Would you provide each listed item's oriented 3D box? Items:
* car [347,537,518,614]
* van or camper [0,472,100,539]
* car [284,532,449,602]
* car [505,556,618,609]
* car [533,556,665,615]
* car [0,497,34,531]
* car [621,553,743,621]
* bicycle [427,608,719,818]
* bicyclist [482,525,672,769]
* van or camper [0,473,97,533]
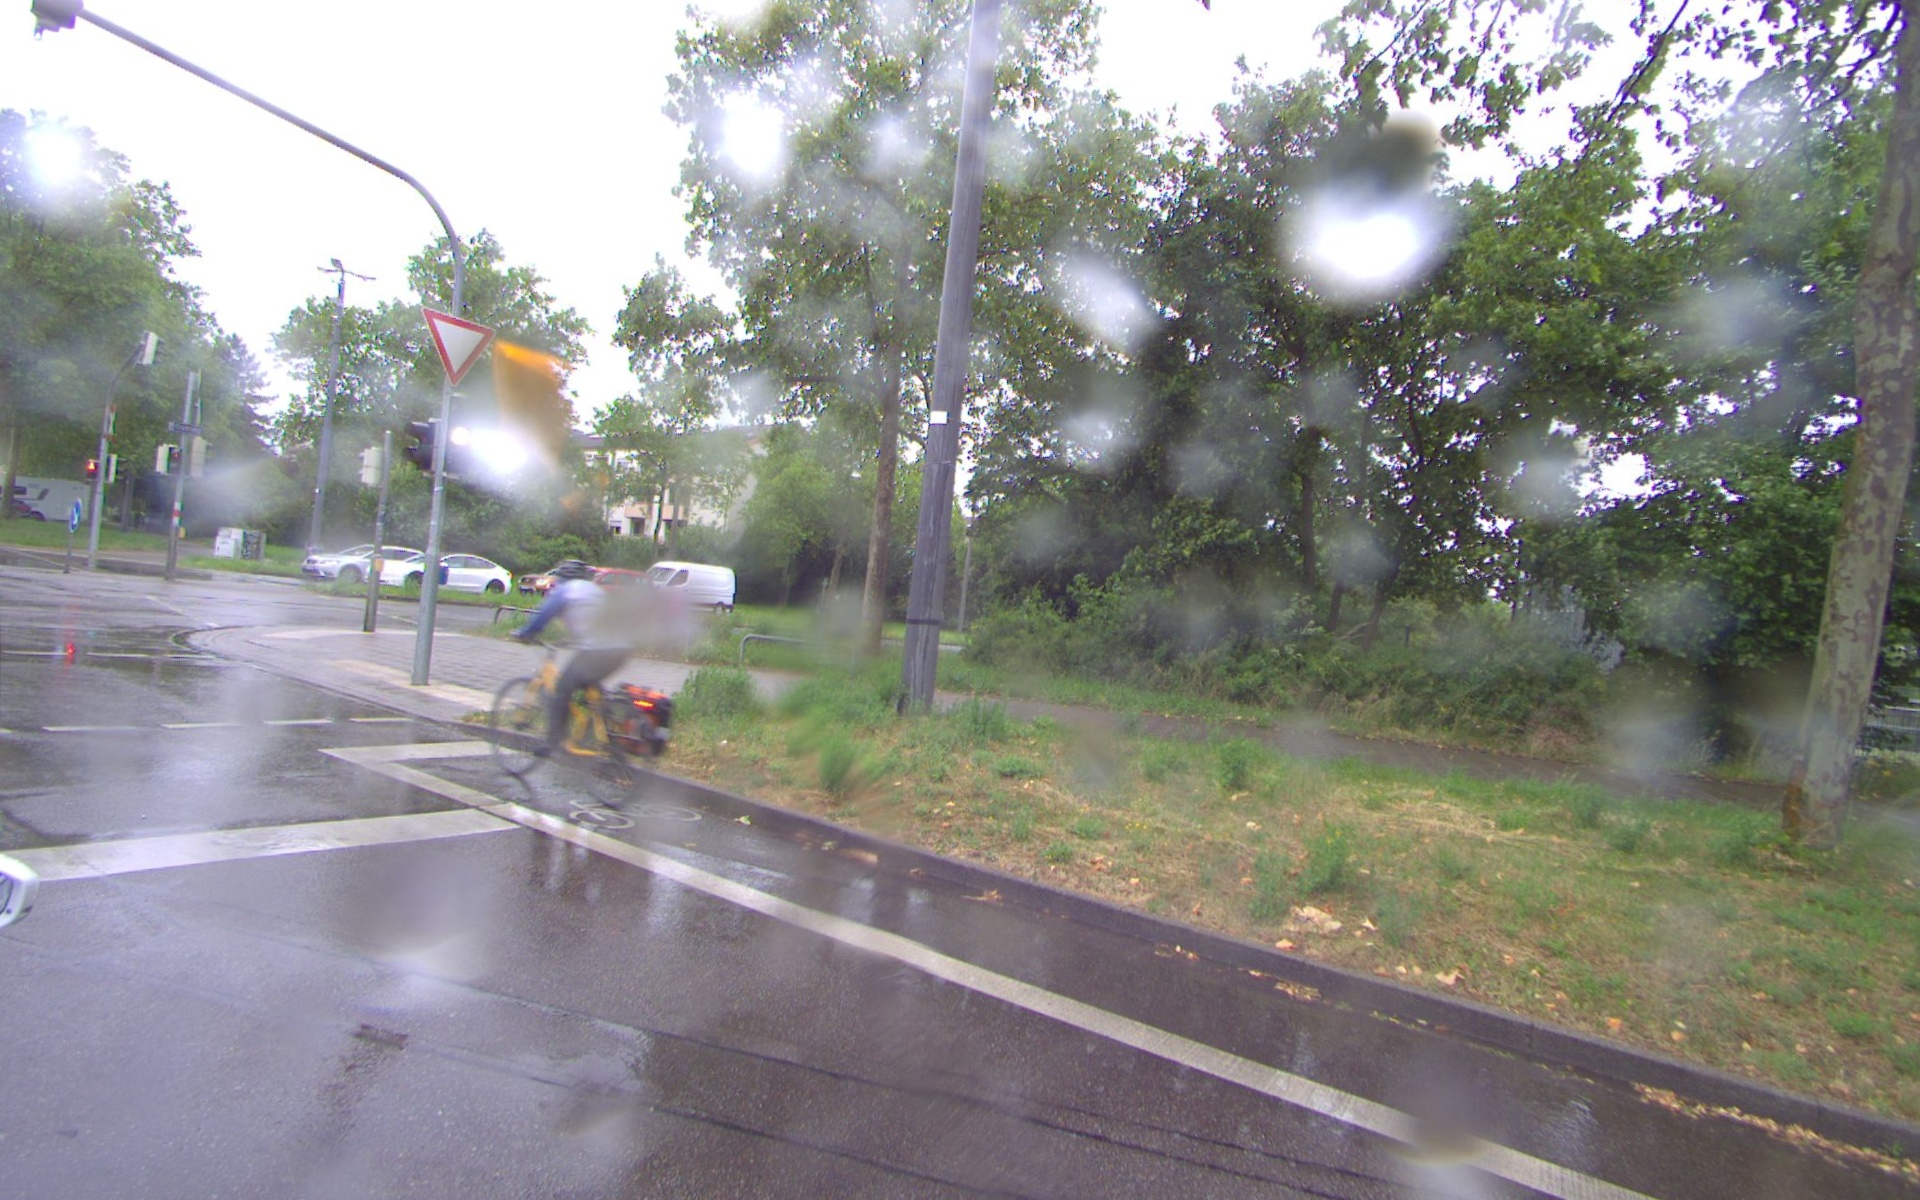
[{"bbox_3d":[-17.152,-0.747,32.987,1.900,1.849,4.608,7,-2,26],"label":"car"},{"bbox_3d":[-56.945,-5.915,60.742,7.296,3.215,3.226,9,-2,-40],"label":"van or camper"},{"bbox_3d":[-20.164,-1.071,34.381,1.900,1.710,4.407,7,-2,26],"label":"car"},{"bbox_3d":[-16.390,-0.693,41.576,1.759,1.625,4.069,7,-2,26],"label":"car"},{"bbox_3d":[-13.795,-0.516,38.703,1.760,1.625,4.615,6,-2,29],"label":"car"},{"bbox_3d":[-55.808,-5.150,57.145,4.424,1.736,1.980,9,-2,-37],"label":"car"},{"bbox_3d":[-13.041,-0.555,47.611,1.966,2.419,5.619,6,-2,29],"label":"car"},{"bbox_3d":[-2.684,0.734,6.945,1.852,1.130,0.693,6,-1,26],"label":"bicycle"},{"bbox_3d":[-2.628,0.318,6.944,0.829,1.523,0.693,6,-1,25],"label":"bicyclist"},{"bbox_3d":[-63.220,-6.700,67.580,7.388,3.215,3.231,9,-2,-36],"label":"van or camper"}]
